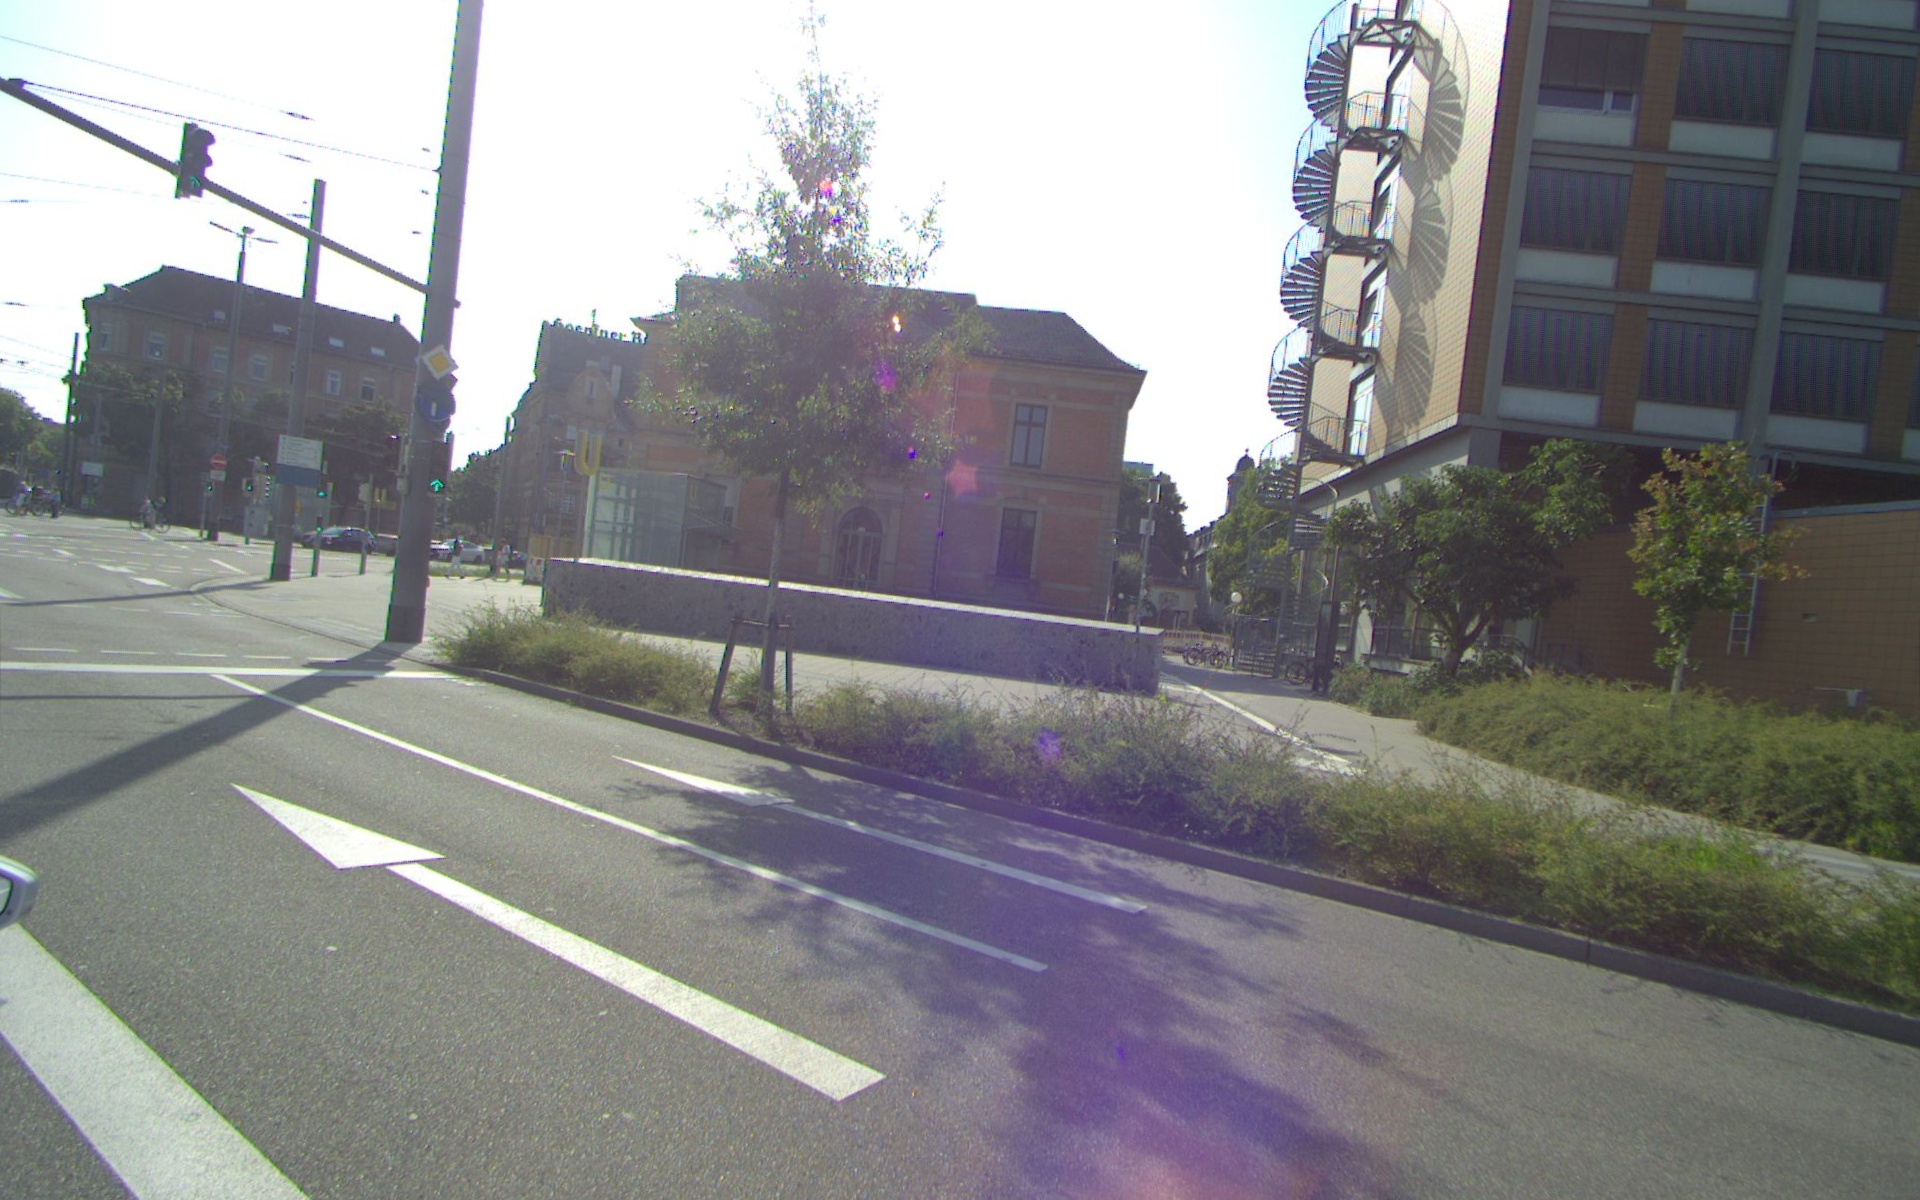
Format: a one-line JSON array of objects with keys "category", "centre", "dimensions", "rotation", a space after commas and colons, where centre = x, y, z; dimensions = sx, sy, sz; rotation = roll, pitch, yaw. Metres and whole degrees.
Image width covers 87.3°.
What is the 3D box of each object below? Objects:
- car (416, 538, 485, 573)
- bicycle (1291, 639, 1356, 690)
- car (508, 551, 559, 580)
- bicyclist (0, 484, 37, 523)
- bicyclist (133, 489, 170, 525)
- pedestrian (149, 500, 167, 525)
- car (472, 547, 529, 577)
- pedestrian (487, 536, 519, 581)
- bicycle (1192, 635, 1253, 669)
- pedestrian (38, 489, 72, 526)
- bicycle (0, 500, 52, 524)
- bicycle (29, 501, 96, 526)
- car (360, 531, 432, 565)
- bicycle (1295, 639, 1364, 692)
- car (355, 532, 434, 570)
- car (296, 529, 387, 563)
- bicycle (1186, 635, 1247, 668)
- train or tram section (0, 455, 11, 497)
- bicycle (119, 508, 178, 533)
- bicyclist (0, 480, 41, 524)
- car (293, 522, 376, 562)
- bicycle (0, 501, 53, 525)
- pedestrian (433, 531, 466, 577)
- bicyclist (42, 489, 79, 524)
[{"category": "car", "centre": [-35.796, -3.087, 70.835], "dimensions": [2.006, 1.881, 4.667], "rotation": [7, 0, 6]}, {"category": "bicycle", "centre": [11.919, 2.108, 33.014], "dimensions": [1.781, 1.451, 0.608], "rotation": [7, 1, 6]}, {"category": "car", "centre": [-34.729, -2.767, 82.018], "dimensions": [1.874, 1.881, 4.252], "rotation": [7, 0, 6]}, {"category": "bicyclist", "centre": [-49.834, -5.092, 53.165], "dimensions": [1.072, 1.822, 0.937], "rotation": [7, 1, 10]}, {"category": "bicyclist", "centre": [-43.670, -4.988, 54.335], "dimensions": [1.073, 1.730, 0.936], "rotation": [7, 1, -4]}, {"category": "pedestrian", "centre": [-50.229, -5.467, 63.016], "dimensions": [0.537, 1.489, 0.666], "rotation": [6, 1, -11]}, {"category": "car", "centre": [-35.217, -2.892, 77.251], "dimensions": [1.874, 1.881, 4.252], "rotation": [7, 0, 6]}, {"category": "pedestrian", "centre": [-19.031, -1.717, 41.916], "dimensions": [0.908, 1.711, 0.922], "rotation": [7, 0, -17]}, {"category": "bicycle", "centre": [10.382, 2.043, 39.852], "dimensions": [2.153, 1.067, 0.631], "rotation": [7, 1, 1]}, {"category": "pedestrian", "centre": [-48.275, -4.930, 53.681], "dimensions": [0.845, 1.820, 0.926], "rotation": [7, 1, -7]}, {"category": "bicycle", "centre": [-49.883, -4.668, 53.190], "dimensions": [1.072, 0.976, 2.628], "rotation": [7, 0, 10]}, {"category": "bicycle", "centre": [-49.880, -4.803, 55.980], "dimensions": [1.072, 0.976, 2.628], "rotation": [7, 0, 10]}, {"category": "car", "centre": [-40.643, -3.704, 72.620], "dimensions": [1.895, 1.881, 4.275], "rotation": [7, 0, 15]}, {"category": "bicycle", "centre": [11.769, 2.080, 32.091], "dimensions": [1.803, 1.451, 0.608], "rotation": [7, 1, 6]}, {"category": "car", "centre": [-36.800, -3.169, 65.592], "dimensions": [1.873, 1.881, 4.712], "rotation": [7, 0, 8]}, {"category": "car", "centre": [-34.938, -3.021, 56.976], "dimensions": [1.985, 1.414, 4.390], "rotation": [7, -1, 6]}, {"category": "bicycle", "centre": [10.352, 2.074, 40.665], "dimensions": [2.201, 1.084, 0.579], "rotation": [7, 1, 1]}, {"category": "train or tram section", "centre": [-89.670, -11.572, 92.579], "dimensions": [2.644, 3.746, 10.466], "rotation": [6, 1, -41]}, {"category": "bicycle", "centre": [-43.749, -4.269, 54.277], "dimensions": [1.073, 0.976, 2.625], "rotation": [7, 0, -3]}, {"category": "bicyclist", "centre": [-48.187, -5.024, 51.561], "dimensions": [1.073, 2.050, 0.936], "rotation": [7, 1, -4]}, {"category": "car", "centre": [-37.550, -3.442, 60.516], "dimensions": [1.874, 1.881, 4.252], "rotation": [7, 0, 6]}, {"category": "bicycle", "centre": [-48.249, -4.476, 51.617], "dimensions": [1.073, 0.976, 2.625], "rotation": [7, 0, -3]}, {"category": "pedestrian", "centre": [-20.197, -1.805, 39.831], "dimensions": [0.909, 1.711, 0.834], "rotation": [7, 1, -20]}, {"category": "bicyclist", "centre": [-49.863, -5.177, 55.779], "dimensions": [1.072, 1.701, 0.937], "rotation": [7, 1, 10]}]
